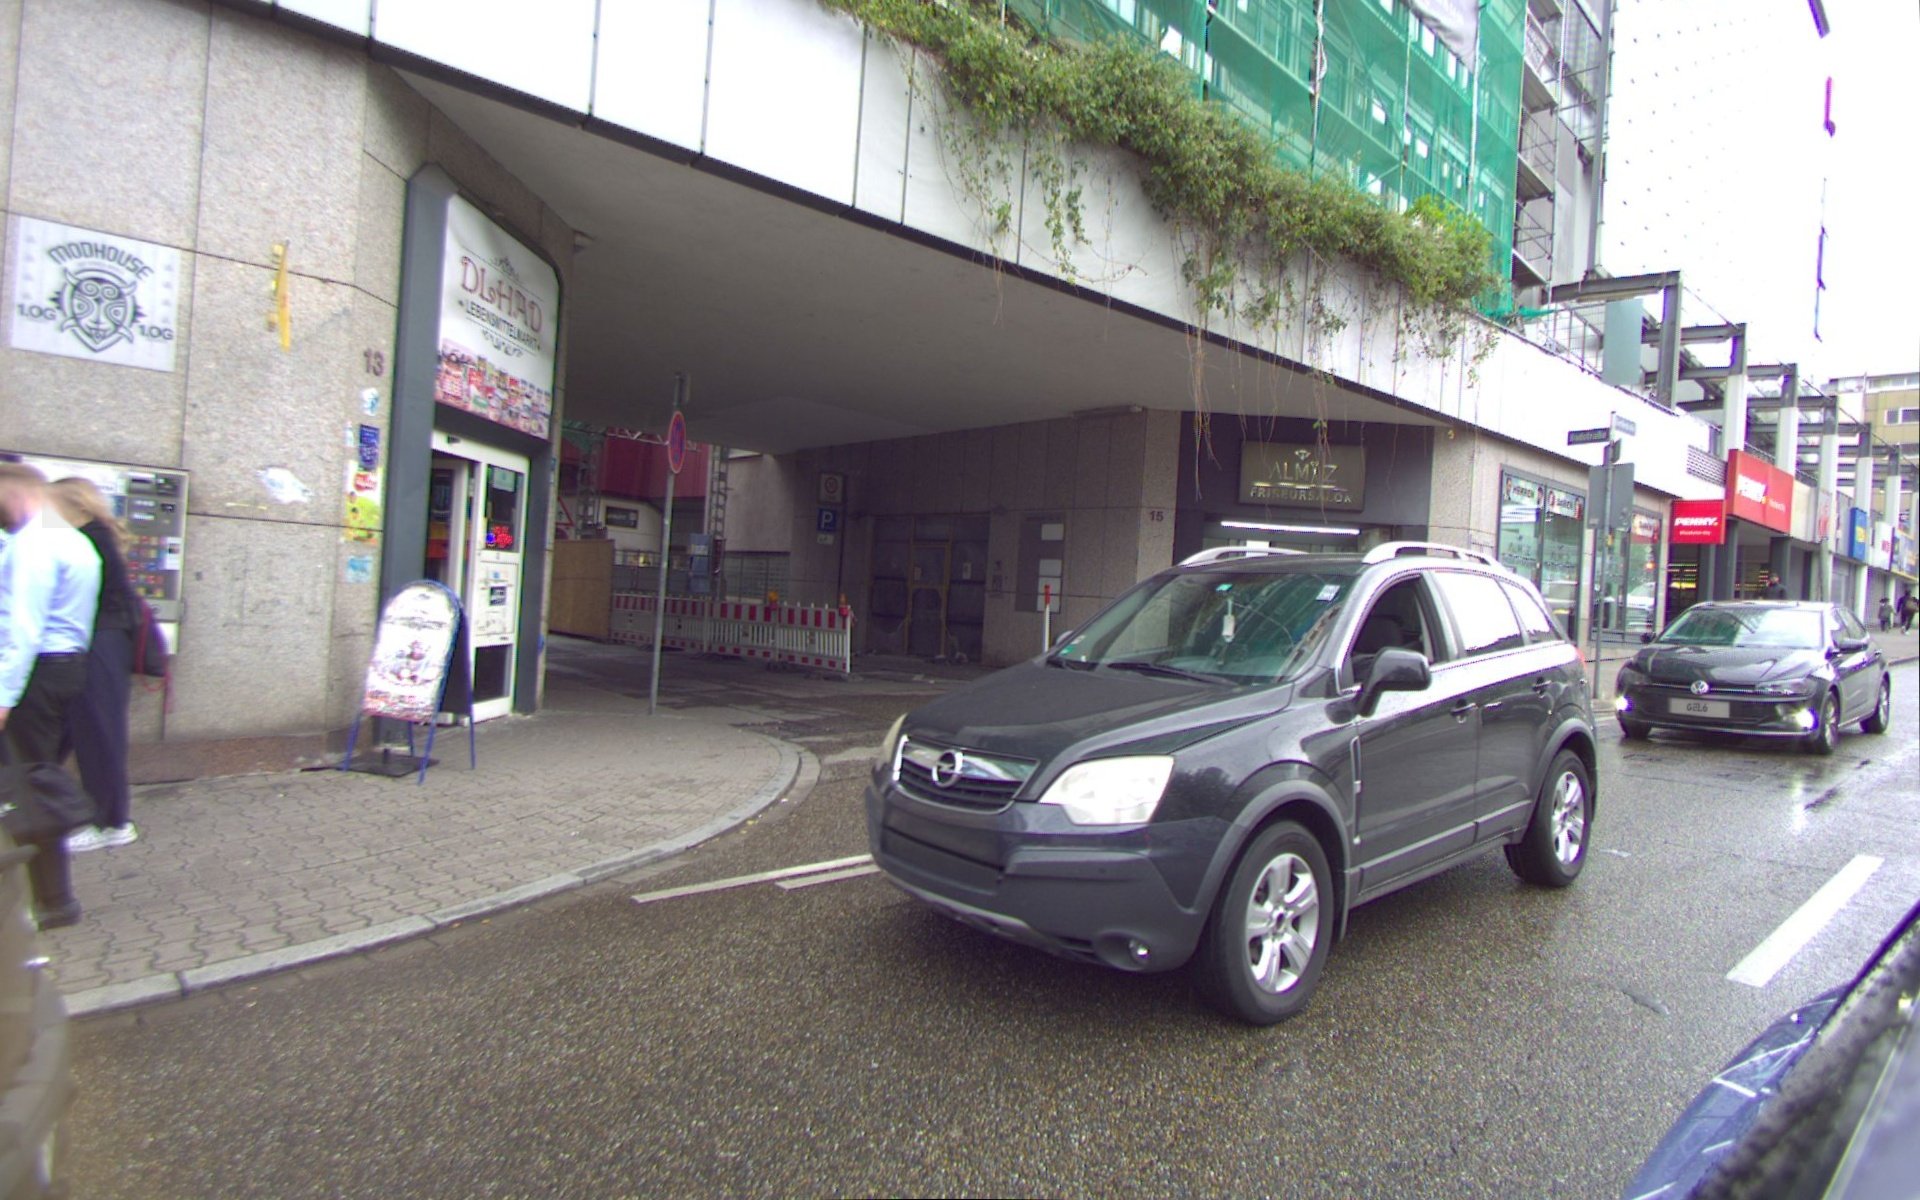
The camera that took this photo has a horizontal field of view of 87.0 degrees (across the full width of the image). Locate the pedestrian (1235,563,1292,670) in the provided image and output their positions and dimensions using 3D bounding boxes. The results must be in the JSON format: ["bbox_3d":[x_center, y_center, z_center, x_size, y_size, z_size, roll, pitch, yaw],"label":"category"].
[{"bbox_3d":[5.378,0.268,17.966,0.730,1.838,0.773,2,2,3],"label":"pedestrian"}]

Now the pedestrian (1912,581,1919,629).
[{"bbox_3d":[30.893,0.164,32.389,0.570,1.519,0.509,-1,3,-42],"label":"pedestrian"}]

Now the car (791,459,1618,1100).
[{"bbox_3d":[1.435,0.516,4.832,4.089,1.788,1.763,1,0,-40],"label":"car"}]

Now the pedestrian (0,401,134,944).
[{"bbox_3d":[-3.662,0.258,3.961,0.629,1.959,0.737,-1,1,-41],"label":"pedestrian"}]

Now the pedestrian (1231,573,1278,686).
[{"bbox_3d":[4.295,0.415,14.758,0.630,1.615,0.574,0,0,17],"label":"pedestrian"}]

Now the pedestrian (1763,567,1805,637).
[{"bbox_3d":[20.373,0.046,25.025,0.499,1.699,0.581,0,2,-19],"label":"pedestrian"}]

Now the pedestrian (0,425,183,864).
[{"bbox_3d":[-4.238,0.169,4.967,0.629,1.957,0.738,-1,5,-41],"label":"pedestrian"}]

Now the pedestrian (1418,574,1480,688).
[{"bbox_3d":[7.349,0.444,15.203,0.721,1.663,0.637,-1,1,-44],"label":"pedestrian"}]

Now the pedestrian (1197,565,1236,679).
[{"bbox_3d":[3.949,0.325,15.585,0.474,1.729,0.467,0,0,1],"label":"pedestrian"}]

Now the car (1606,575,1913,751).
[{"bbox_3d":[8.620,0.564,10.786,4.089,1.523,1.758,1,0,-40],"label":"car"}]

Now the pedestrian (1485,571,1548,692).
[{"bbox_3d":[7.868,0.426,14.307,0.578,1.647,0.666,3,3,44],"label":"pedestrian"}]

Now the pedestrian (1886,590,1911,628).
[{"bbox_3d":[30.524,0.282,32.917,0.570,1.181,0.509,-1,3,-42],"label":"pedestrian"}]

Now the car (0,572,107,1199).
[{"bbox_3d":[-3.052,0.659,0.812,3.557,1.447,1.610,1,0,-40],"label":"car"}]
